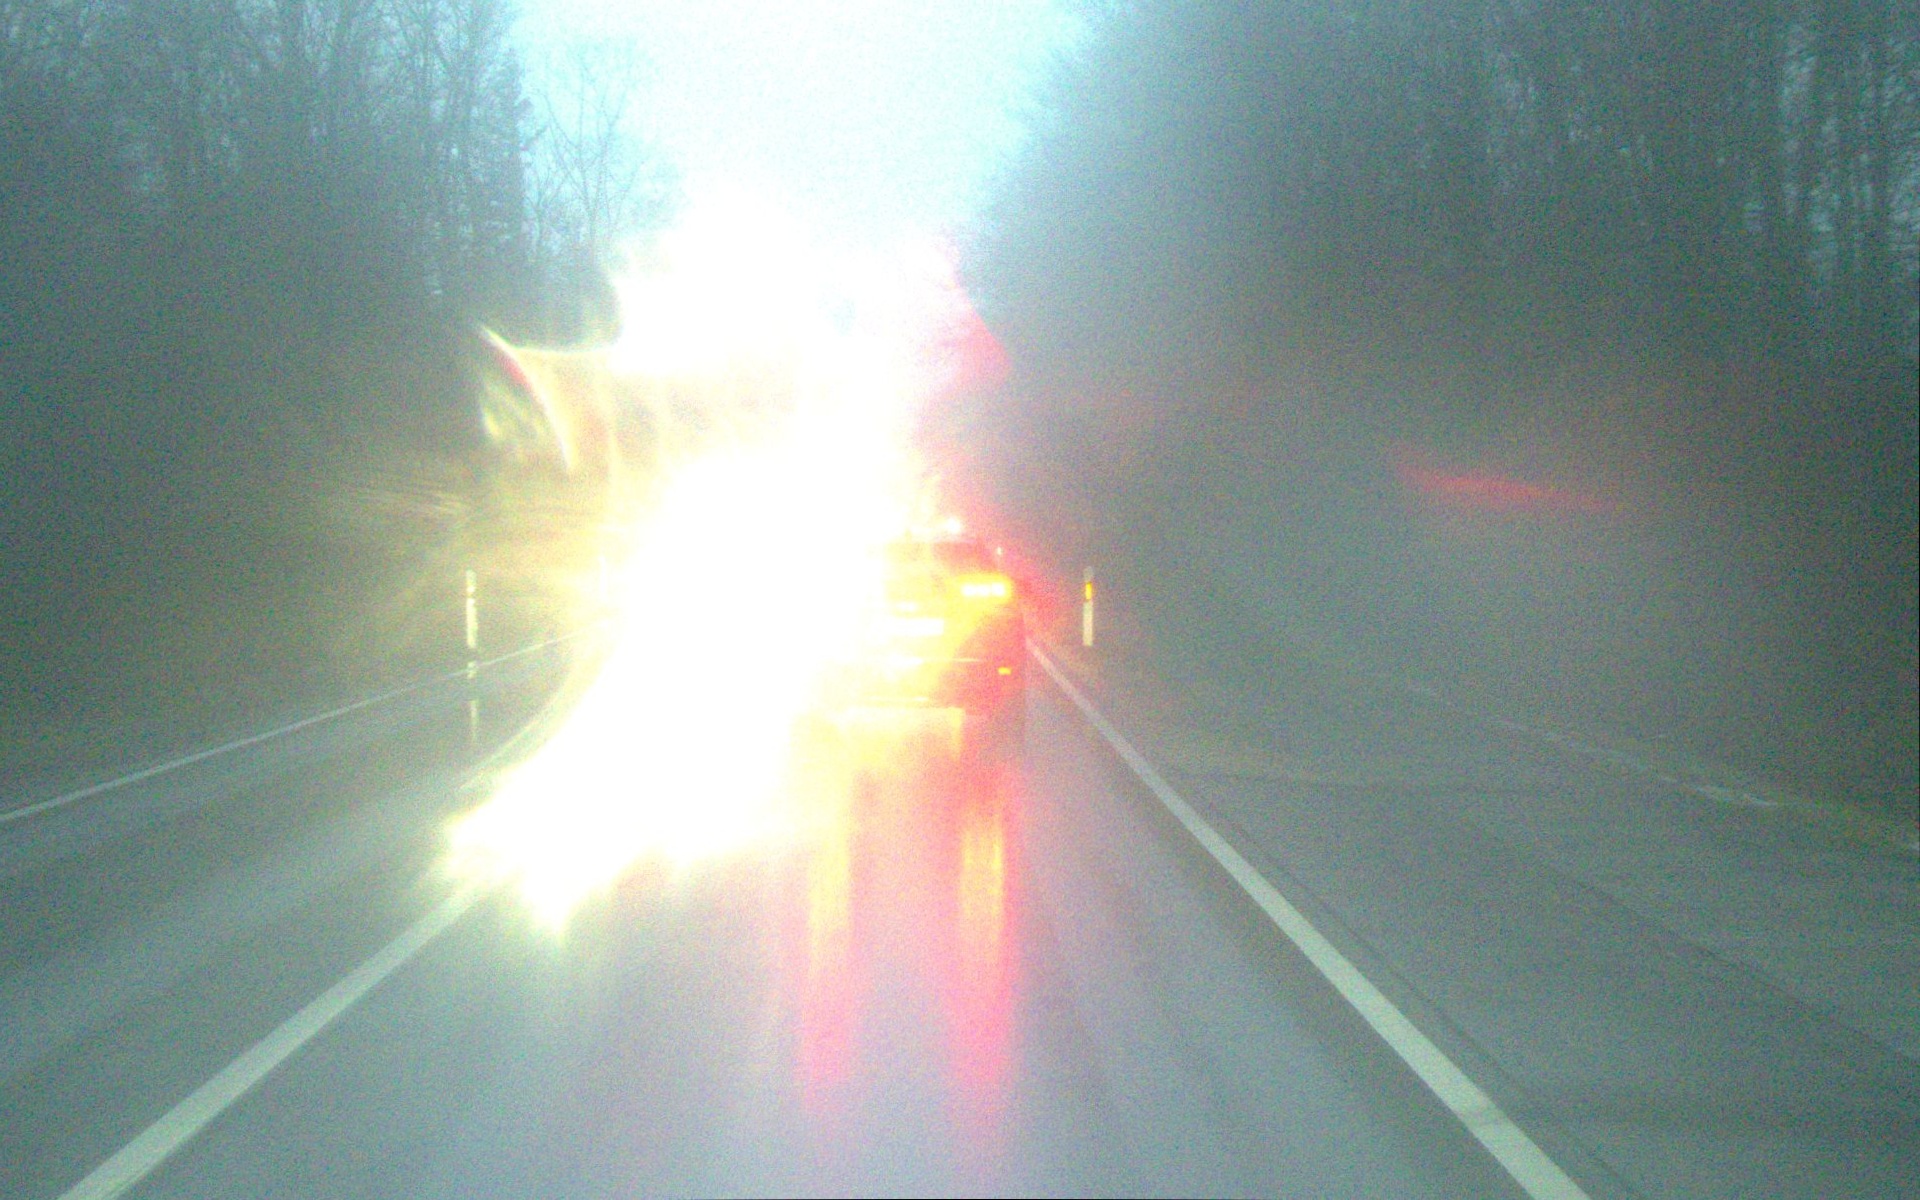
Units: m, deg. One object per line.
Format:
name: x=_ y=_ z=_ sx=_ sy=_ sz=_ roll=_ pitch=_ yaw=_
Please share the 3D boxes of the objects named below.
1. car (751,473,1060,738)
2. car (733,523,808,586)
car: x=-0.439 y=-0.018 z=27.074 sx=2.198 sy=1.871 sz=4.827 roll=1 pitch=1 yaw=-1
car: x=-4.728 y=-1.150 z=86.061 sx=1.598 sy=1.490 sz=3.895 roll=-2 pitch=1 yaw=0
